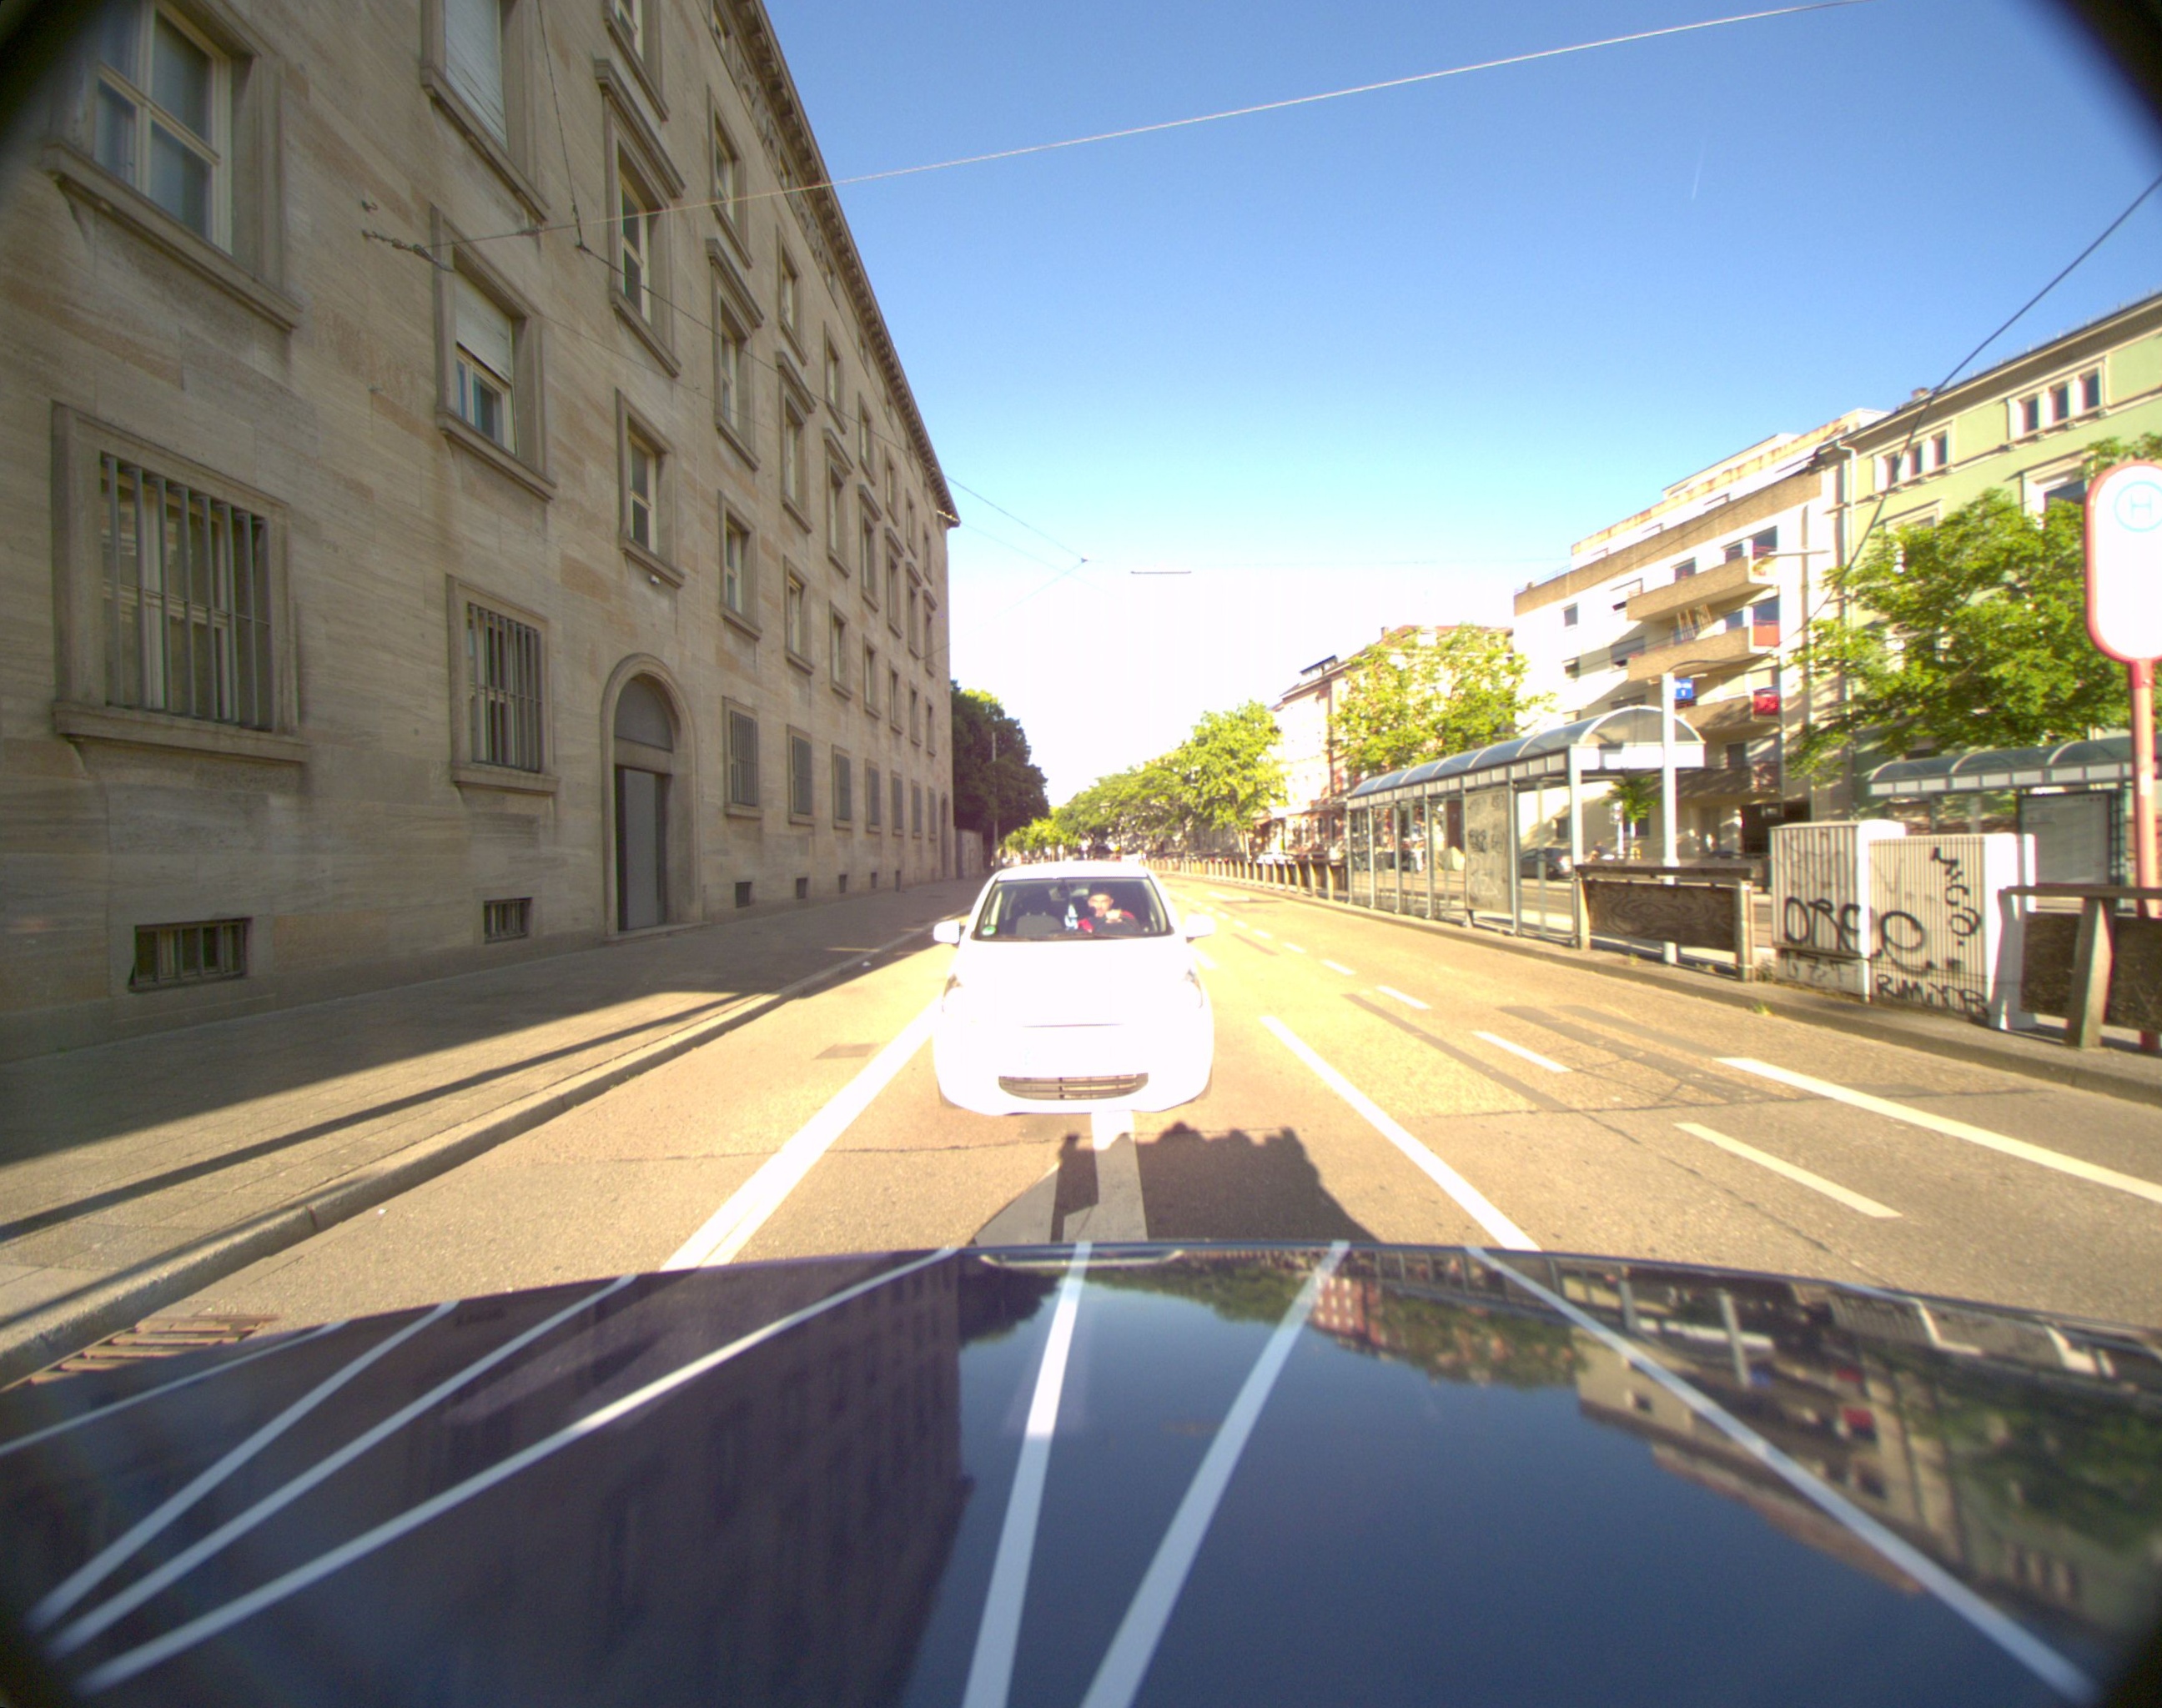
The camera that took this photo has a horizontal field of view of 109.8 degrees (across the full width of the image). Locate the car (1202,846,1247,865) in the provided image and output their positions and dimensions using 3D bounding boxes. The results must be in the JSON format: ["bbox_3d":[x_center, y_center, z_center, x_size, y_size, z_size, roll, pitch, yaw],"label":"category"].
[{"bbox_3d":[13.639,0.146,72.583,3.996,1.674,2.000,-1,0,4],"label":"car"}]

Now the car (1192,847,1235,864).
[{"bbox_3d":[13.353,0.132,76.717,3.996,1.674,2.000,-1,0,4],"label":"car"}]

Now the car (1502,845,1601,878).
[{"bbox_3d":[20.848,0.328,33.825,1.615,1.387,3.516,-1,0,-19],"label":"car"}]

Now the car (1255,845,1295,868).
[{"bbox_3d":[16.307,0.180,63.668,1.994,1.713,4.007,0,2,34],"label":"car"}]

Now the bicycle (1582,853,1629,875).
[{"bbox_3d":[20.020,0.374,29.027,0.536,0.783,1.852,-1,1,1],"label":"bicycle"}]

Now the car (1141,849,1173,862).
[{"bbox_3d":[9.567,0.152,95.706,3.864,1.583,2.001,-1,0,4],"label":"car"}]

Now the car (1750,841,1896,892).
[{"bbox_3d":[23.936,0.380,24.541,3.796,1.526,1.772,-1,0,-17],"label":"car"}]

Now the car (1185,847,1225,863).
[{"bbox_3d":[13.160,0.104,80.520,3.996,1.674,2.000,-1,0,4],"label":"car"}]

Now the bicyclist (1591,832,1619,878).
[{"bbox_3d":[20.001,0.026,29.000,0.536,1.751,0.771,-1,2,1],"label":"bicyclist"}]

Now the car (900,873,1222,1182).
[{"bbox_3d":[-0.077,0.931,5.691,1.612,1.450,3.667,-1,0,1],"label":"car"}]

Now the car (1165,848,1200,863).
[{"bbox_3d":[11.439,0.164,86.080,3.864,1.583,2.001,-1,0,5],"label":"car"}]
